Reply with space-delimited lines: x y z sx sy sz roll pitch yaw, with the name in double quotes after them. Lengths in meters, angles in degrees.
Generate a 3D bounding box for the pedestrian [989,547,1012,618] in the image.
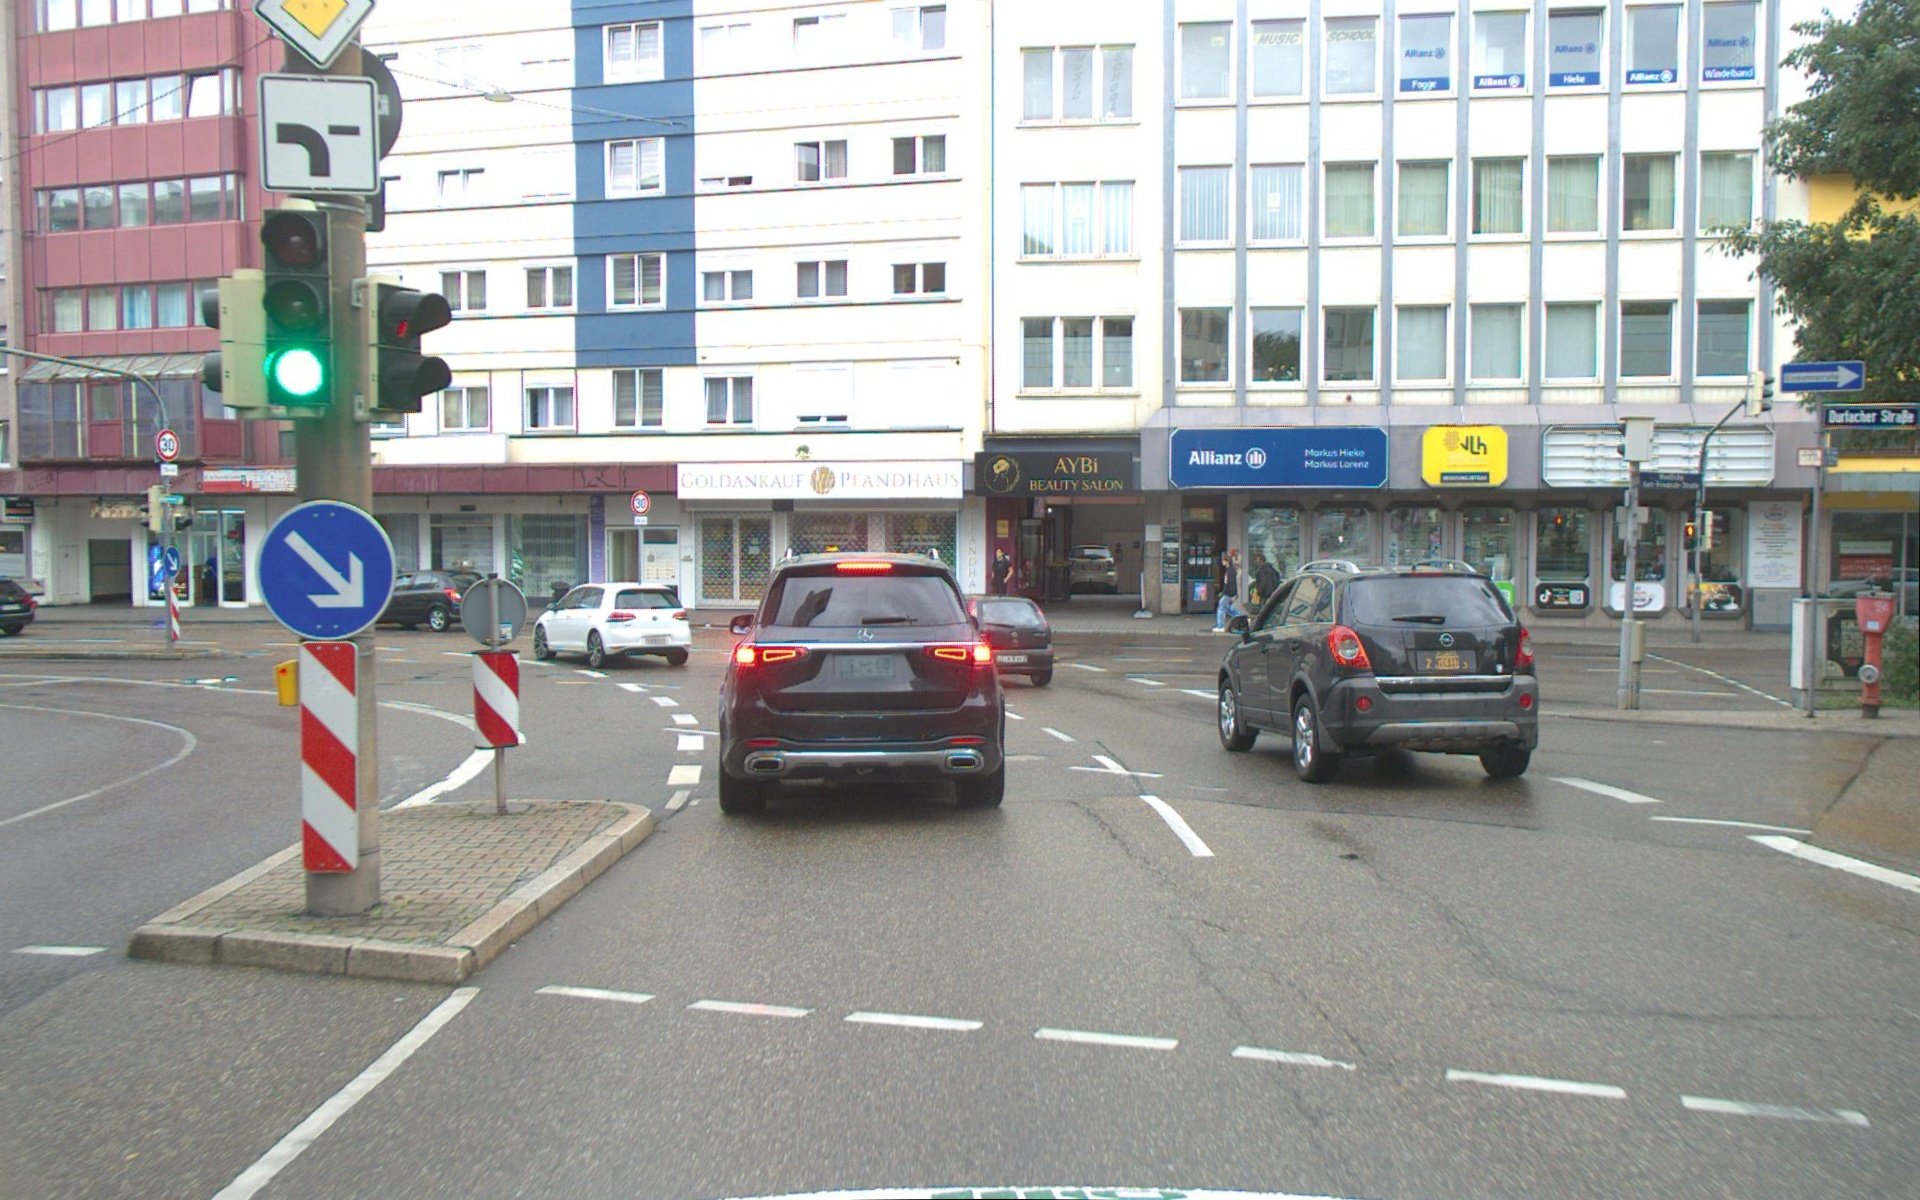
1.015 -0.442 41.827 0.552 1.717 0.756 -1 6 1 "pedestrian"

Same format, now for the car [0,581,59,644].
-24.911 0.319 41.184 4.133 1.512 2.001 -1 0 16 "car"

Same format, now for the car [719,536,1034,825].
-0.800 0.507 12.896 2.000 1.830 4.655 1 0 -7 "car"

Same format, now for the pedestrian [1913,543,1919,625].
22.388 -0.338 37.741 0.876 1.859 0.674 4 -2 -22 "pedestrian"

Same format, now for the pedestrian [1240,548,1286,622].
7.386 -0.373 40.352 1.008 1.717 0.831 0 6 3 "pedestrian"

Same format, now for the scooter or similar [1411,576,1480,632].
11.715 0.084 39.960 1.480 1.231 0.622 2 6 11 "scooter or similar"

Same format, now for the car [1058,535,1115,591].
4.059 -1.170 53.498 1.759 1.699 4.002 -1 0 3 "car"

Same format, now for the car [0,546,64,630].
-28.318 -0.354 46.698 5.297 2.267 2.251 1 0 18 "car"

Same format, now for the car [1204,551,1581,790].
3.563 0.490 14.577 1.860 1.724 4.502 -1 1 -4 "car"

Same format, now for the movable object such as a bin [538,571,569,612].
-10.630 -0.235 43.199 0.532 0.966 0.612 -8 9 -35 "movable object such as a bin"

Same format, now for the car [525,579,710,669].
-6.409 0.396 30.632 1.857 1.521 4.348 1 0 -34 "car"

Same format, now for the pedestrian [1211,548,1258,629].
6.489 -0.283 39.143 1.008 1.829 0.831 0 6 3 "pedestrian"

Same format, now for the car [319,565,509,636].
-13.655 0.006 41.387 4.390 1.687 1.828 1 -1 23 "car"

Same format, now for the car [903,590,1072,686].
0.363 0.575 27.212 1.738 1.422 3.984 -1 0 -15 "car"
